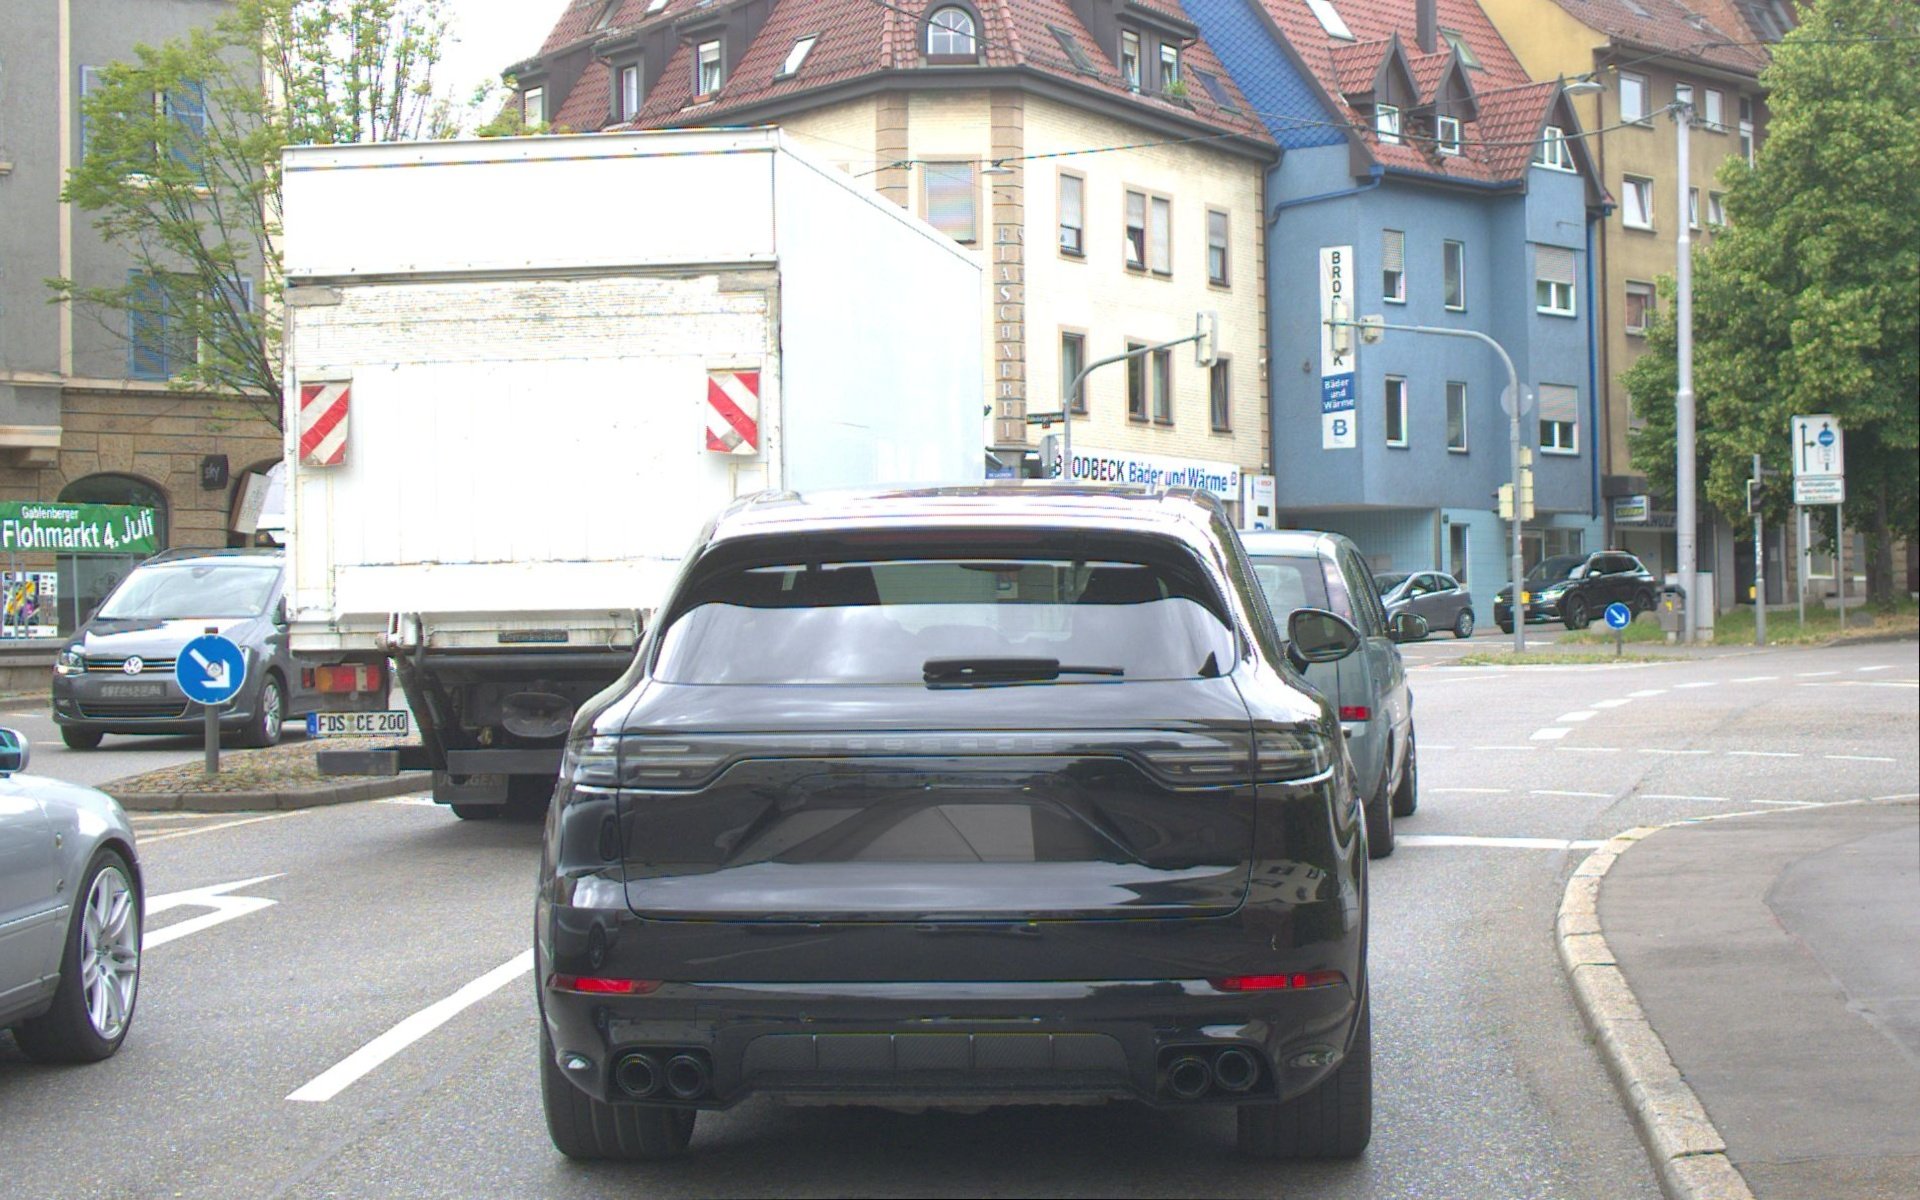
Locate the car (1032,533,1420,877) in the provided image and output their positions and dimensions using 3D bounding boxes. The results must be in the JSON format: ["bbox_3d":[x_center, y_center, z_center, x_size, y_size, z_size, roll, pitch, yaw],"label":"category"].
[{"bbox_3d":[1.446,0.466,17.491,1.649,1.550,3.581,1,0,9],"label":"car"}]

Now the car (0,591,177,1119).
[{"bbox_3d":[-3.391,0.705,8.453,1.629,1.360,4.127,-1,1,5],"label":"car"}]

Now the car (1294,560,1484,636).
[{"bbox_3d":[8.734,-0.053,69.774,1.720,1.471,4.208,-2,-1,42],"label":"car"}]

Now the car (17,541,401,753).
[{"bbox_3d":[-6.464,0.349,30.181,1.904,1.708,4.718,0,1,6],"label":"car"}]

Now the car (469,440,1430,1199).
[{"bbox_3d":[-0.059,0.475,9.570,2.031,1.717,4.500,0,1,-1],"label":"car"}]

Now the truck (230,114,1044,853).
[{"bbox_3d":[-1.496,-0.633,20.817,2.726,3.532,8.418,1,1,10],"label":"truck"}]

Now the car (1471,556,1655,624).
[{"bbox_3d":[13.215,-0.209,75.167,1.874,1.411,4.687,-1,-1,40],"label":"car"}]
